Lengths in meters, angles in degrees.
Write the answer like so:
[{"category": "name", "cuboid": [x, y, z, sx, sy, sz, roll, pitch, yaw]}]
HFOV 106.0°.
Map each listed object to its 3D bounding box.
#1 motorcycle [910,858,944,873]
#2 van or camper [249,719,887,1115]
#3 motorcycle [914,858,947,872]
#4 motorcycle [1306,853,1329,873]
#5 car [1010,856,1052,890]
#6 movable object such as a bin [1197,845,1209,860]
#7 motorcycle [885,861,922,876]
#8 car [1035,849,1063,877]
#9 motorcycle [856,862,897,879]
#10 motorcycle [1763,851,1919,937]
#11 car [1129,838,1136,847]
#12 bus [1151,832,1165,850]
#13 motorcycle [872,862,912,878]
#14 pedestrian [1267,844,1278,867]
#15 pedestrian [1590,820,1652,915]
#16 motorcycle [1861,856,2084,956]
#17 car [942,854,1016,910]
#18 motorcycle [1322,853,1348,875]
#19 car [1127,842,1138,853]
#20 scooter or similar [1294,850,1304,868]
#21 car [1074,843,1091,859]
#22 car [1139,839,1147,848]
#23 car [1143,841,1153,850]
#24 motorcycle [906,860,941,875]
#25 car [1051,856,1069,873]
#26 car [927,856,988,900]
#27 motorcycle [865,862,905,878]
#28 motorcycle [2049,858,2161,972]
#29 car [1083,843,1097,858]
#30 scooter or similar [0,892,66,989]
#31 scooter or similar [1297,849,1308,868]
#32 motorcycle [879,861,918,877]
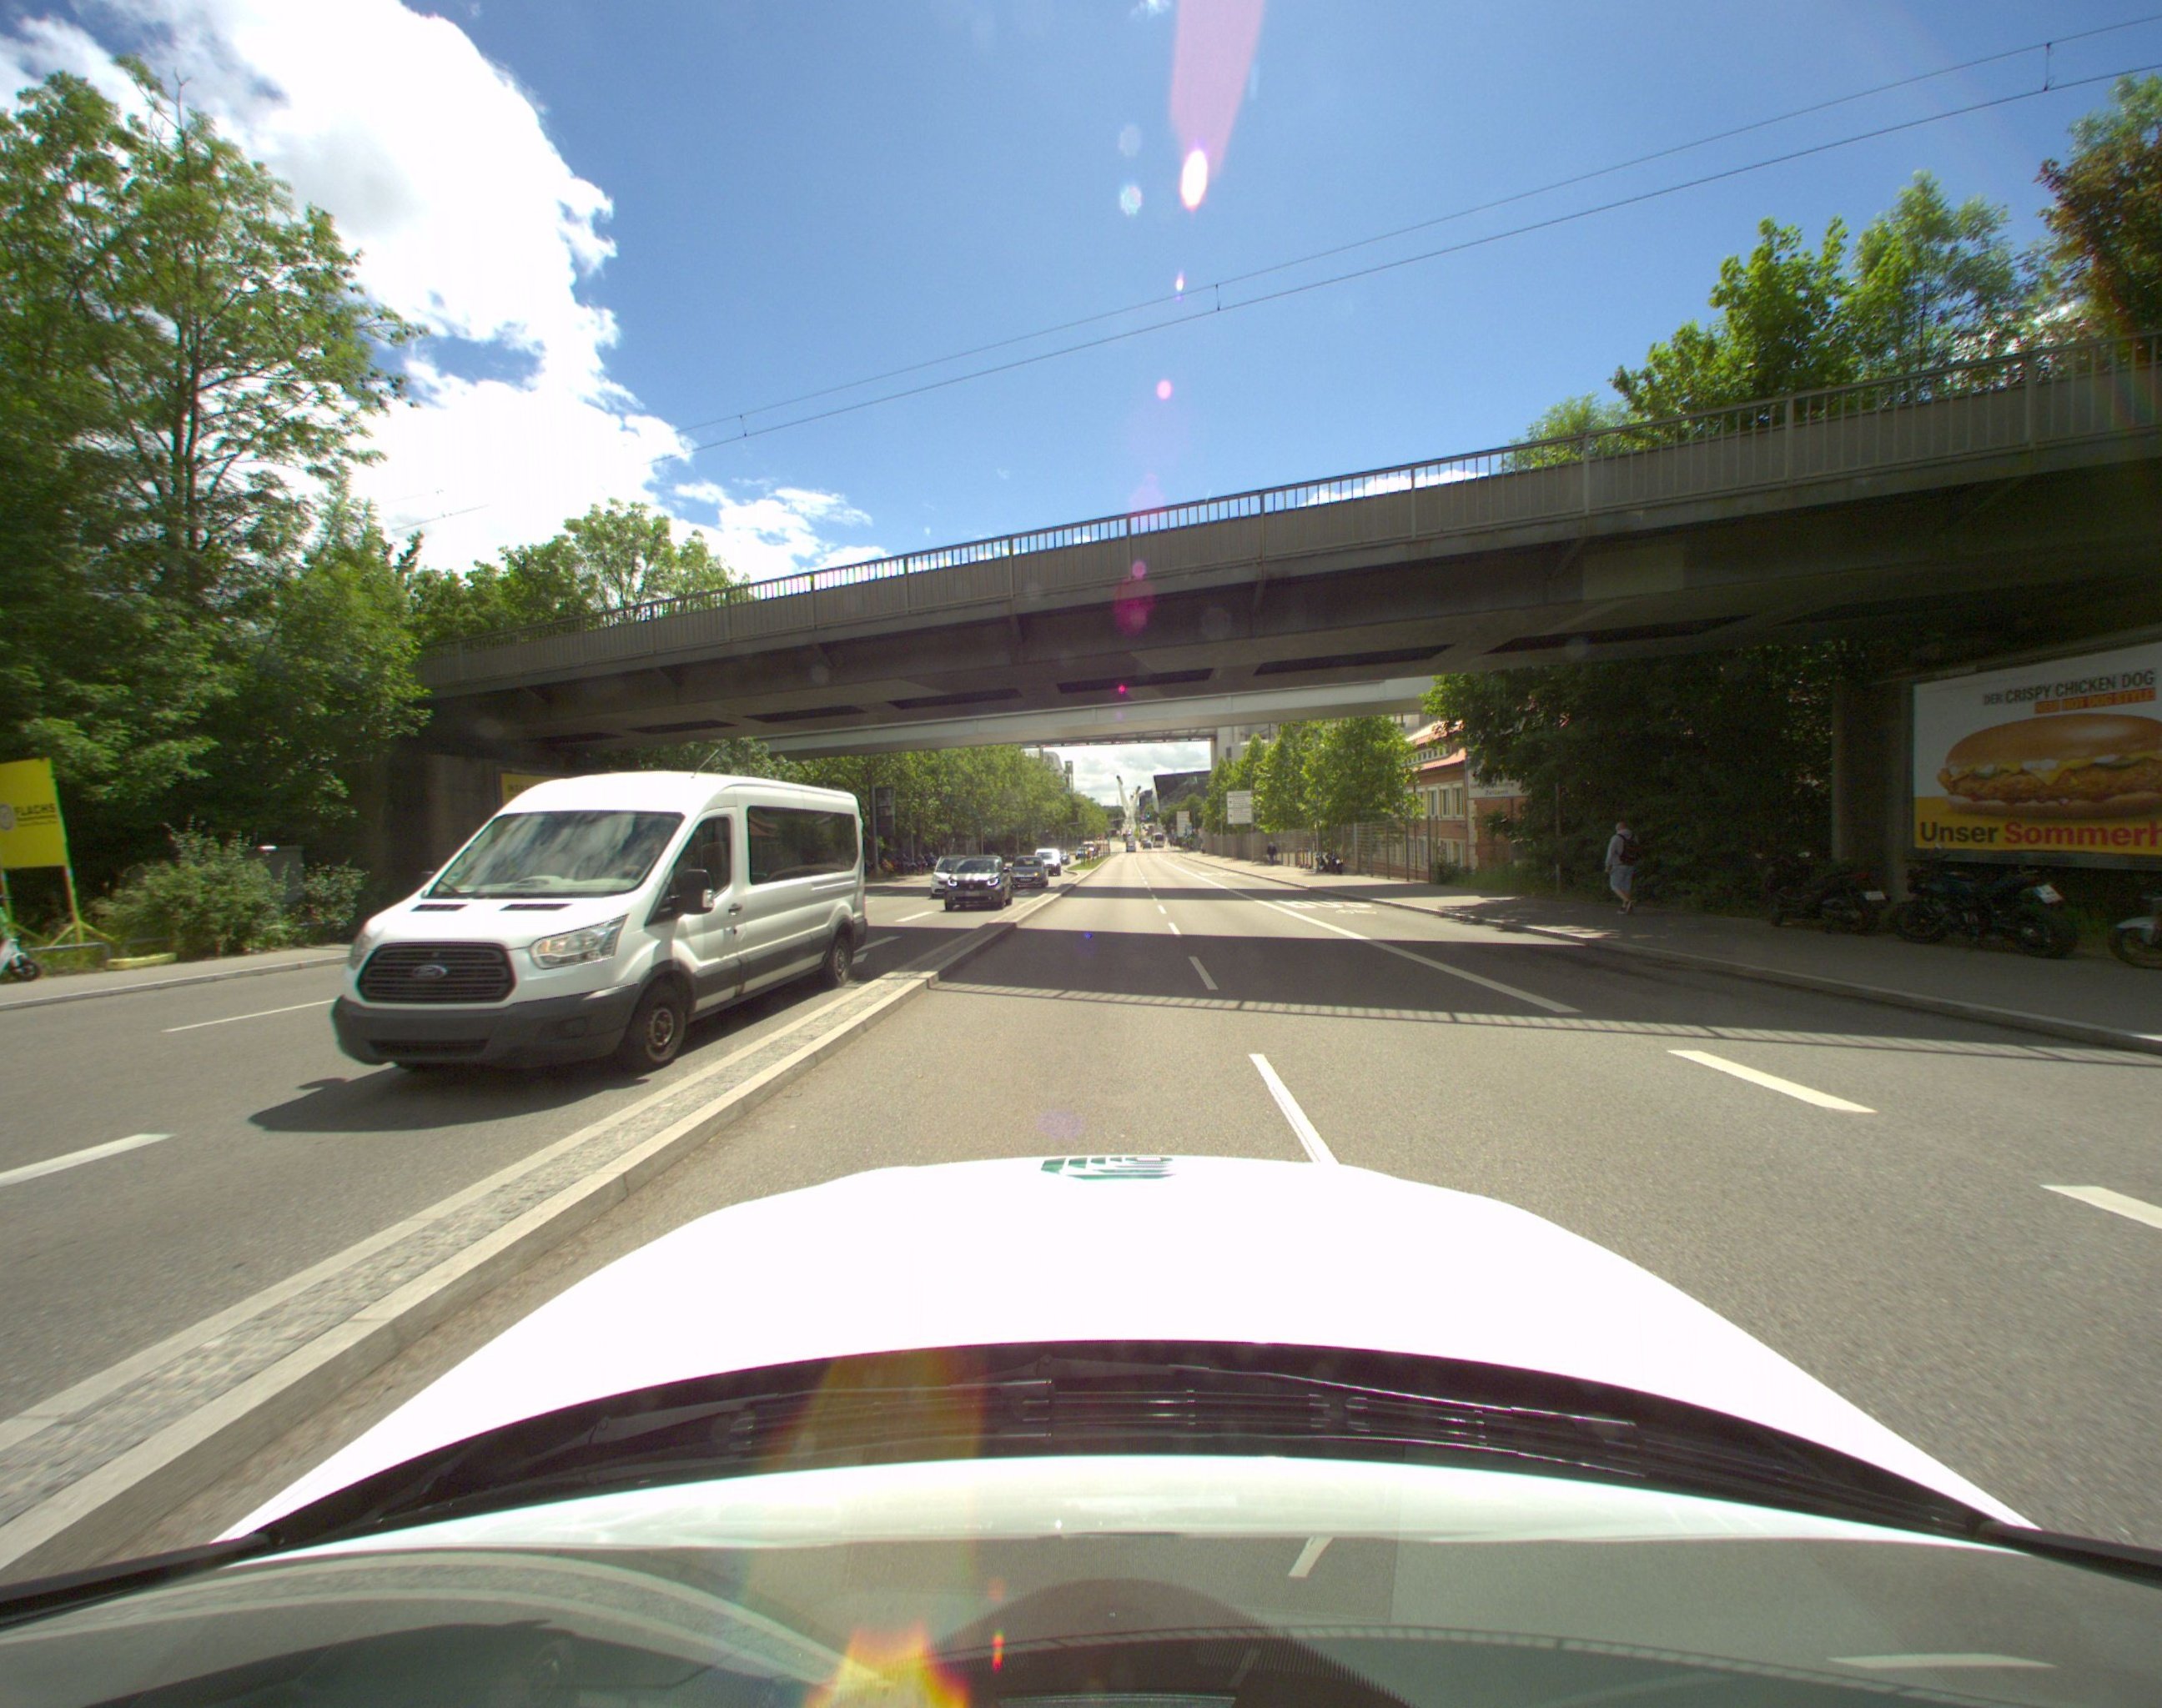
[{"category": "motorcycle", "cuboid": [-12.312, 0.927, 65.073, 2.558, 1.107, 0.798, -1, 0, 14]}, {"category": "van or camper", "cuboid": [-3.963, 0.399, 8.237, 1.999, 2.401, 6.405, -2, 0, 4]}, {"category": "motorcycle", "cuboid": [-12.335, 0.914, 66.838, 2.558, 1.107, 0.798, -1, 0, 14]}, {"category": "motorcycle", "cuboid": [13.236, 0.505, 45.659, 0.561, 1.029, 2.631, -3, 1, 2]}, {"category": "car", "cuboid": [-2.247, 0.837, 37.396, 1.695, 1.436, 3.923, -1, 0, 0]}, {"category": "movable object such as a bin", "cuboid": [17.434, -0.231, 116.160, 1.655, 2.132, 1.281, -1, 0, 8]}, {"category": "motorcycle", "cuboid": [-12.769, 1.051, 58.644, 2.537, 1.050, 0.676, -1, 0, 8]}, {"category": "car", "cuboid": [-2.075, 0.571, 53.402, 1.695, 1.698, 3.923, -1, 0, 0]}, {"category": "motorcycle", "cuboid": [-13.445, 1.104, 53.664, 2.537, 1.050, 0.676, -1, 0, 8]}, {"category": "motorcycle", "cuboid": [11.467, 0.570, 12.384, 0.545, 1.198, 1.903, -2, -1, 0]}, {"category": "car", "cuboid": [14.315, -3.192, 226.090, 1.866, 2.013, 3.696, -2, 4, 2]}, {"category": "bus", "cuboid": [18.679, -3.308, 198.787, 2.785, 3.751, 9.478, -2, 4, 2]}, {"category": "motorcycle", "cuboid": [-13.007, 1.087, 56.051, 2.537, 1.050, 0.676, -1, 0, 8]}, {"category": "pedestrian", "cuboid": [14.241, 0.101, 60.588, 0.618, 1.618, 0.747, -2, 4, 1]}, {"category": "pedestrian", "cuboid": [11.031, 0.275, 16.652, 0.620, 1.858, 0.872, -2, -1, 1]}, {"category": "motorcycle", "cuboid": [11.090, 0.597, 10.255, 0.545, 1.110, 2.017, -2, -1, 0]}, {"category": "car", "cuboid": [-2.967, 0.789, 24.171, 1.694, 1.521, 3.075, -1, 0, 1]}, {"category": "motorcycle", "cuboid": [13.187, 0.506, 42.339, 0.561, 1.029, 2.631, -3, 1, 2]}, {"category": "car", "cuboid": [9.419, -1.160, 150.311, 1.921, 1.771, 4.005, -2, 4, 3]}, {"category": "scooter or similar", "cuboid": [14.381, 0.308, 53.802, 0.367, 1.177, 1.134, -1, 0, 2]}, {"category": "car", "cuboid": [0.180, -0.384, 110.371, 1.985, 2.013, 4.003, -2, 0, 3]}, {"category": "car", "cuboid": [15.619, -2.622, 205.046, 1.985, 2.013, 4.005, -2, 4, 3]}, {"category": "car", "cuboid": [14.898, -1.816, 181.029, 1.986, 1.860, 4.002, -2, 0, 2]}, {"category": "motorcycle", "cuboid": [-12.265, 1.056, 63.556, 2.558, 1.107, 0.798, -1, 0, 14]}, {"category": "car", "cuboid": [-2.060, 1.028, 81.492, 1.695, 1.698, 3.923, -1, 0, 0]}, {"category": "car", "cuboid": [-4.654, 0.853, 31.115, 1.695, 1.551, 3.923, -1, 0, 0]}, {"category": "motorcycle", "cuboid": [-13.219, 1.077, 54.876, 2.537, 1.050, 0.676, -1, 0, 8]}, {"category": "motorcycle", "cuboid": [10.957, 0.602, 7.962, 0.545, 1.110, 2.017, -2, -1, 0]}, {"category": "car", "cuboid": [1.443, -0.552, 127.948, 1.985, 2.255, 4.329, -1, 0, 3]}, {"category": "scooter or similar", "cuboid": [-14.175, 1.134, 10.473, 0.609, 1.211, 1.262, -2, 0, 2]}, {"category": "scooter or similar", "cuboid": [14.177, 0.293, 52.098, 0.367, 1.177, 1.134, -1, 0, 2]}, {"category": "motorcycle", "cuboid": [-12.817, 1.046, 57.230, 2.537, 1.050, 0.676, -1, 0, 8]}]
